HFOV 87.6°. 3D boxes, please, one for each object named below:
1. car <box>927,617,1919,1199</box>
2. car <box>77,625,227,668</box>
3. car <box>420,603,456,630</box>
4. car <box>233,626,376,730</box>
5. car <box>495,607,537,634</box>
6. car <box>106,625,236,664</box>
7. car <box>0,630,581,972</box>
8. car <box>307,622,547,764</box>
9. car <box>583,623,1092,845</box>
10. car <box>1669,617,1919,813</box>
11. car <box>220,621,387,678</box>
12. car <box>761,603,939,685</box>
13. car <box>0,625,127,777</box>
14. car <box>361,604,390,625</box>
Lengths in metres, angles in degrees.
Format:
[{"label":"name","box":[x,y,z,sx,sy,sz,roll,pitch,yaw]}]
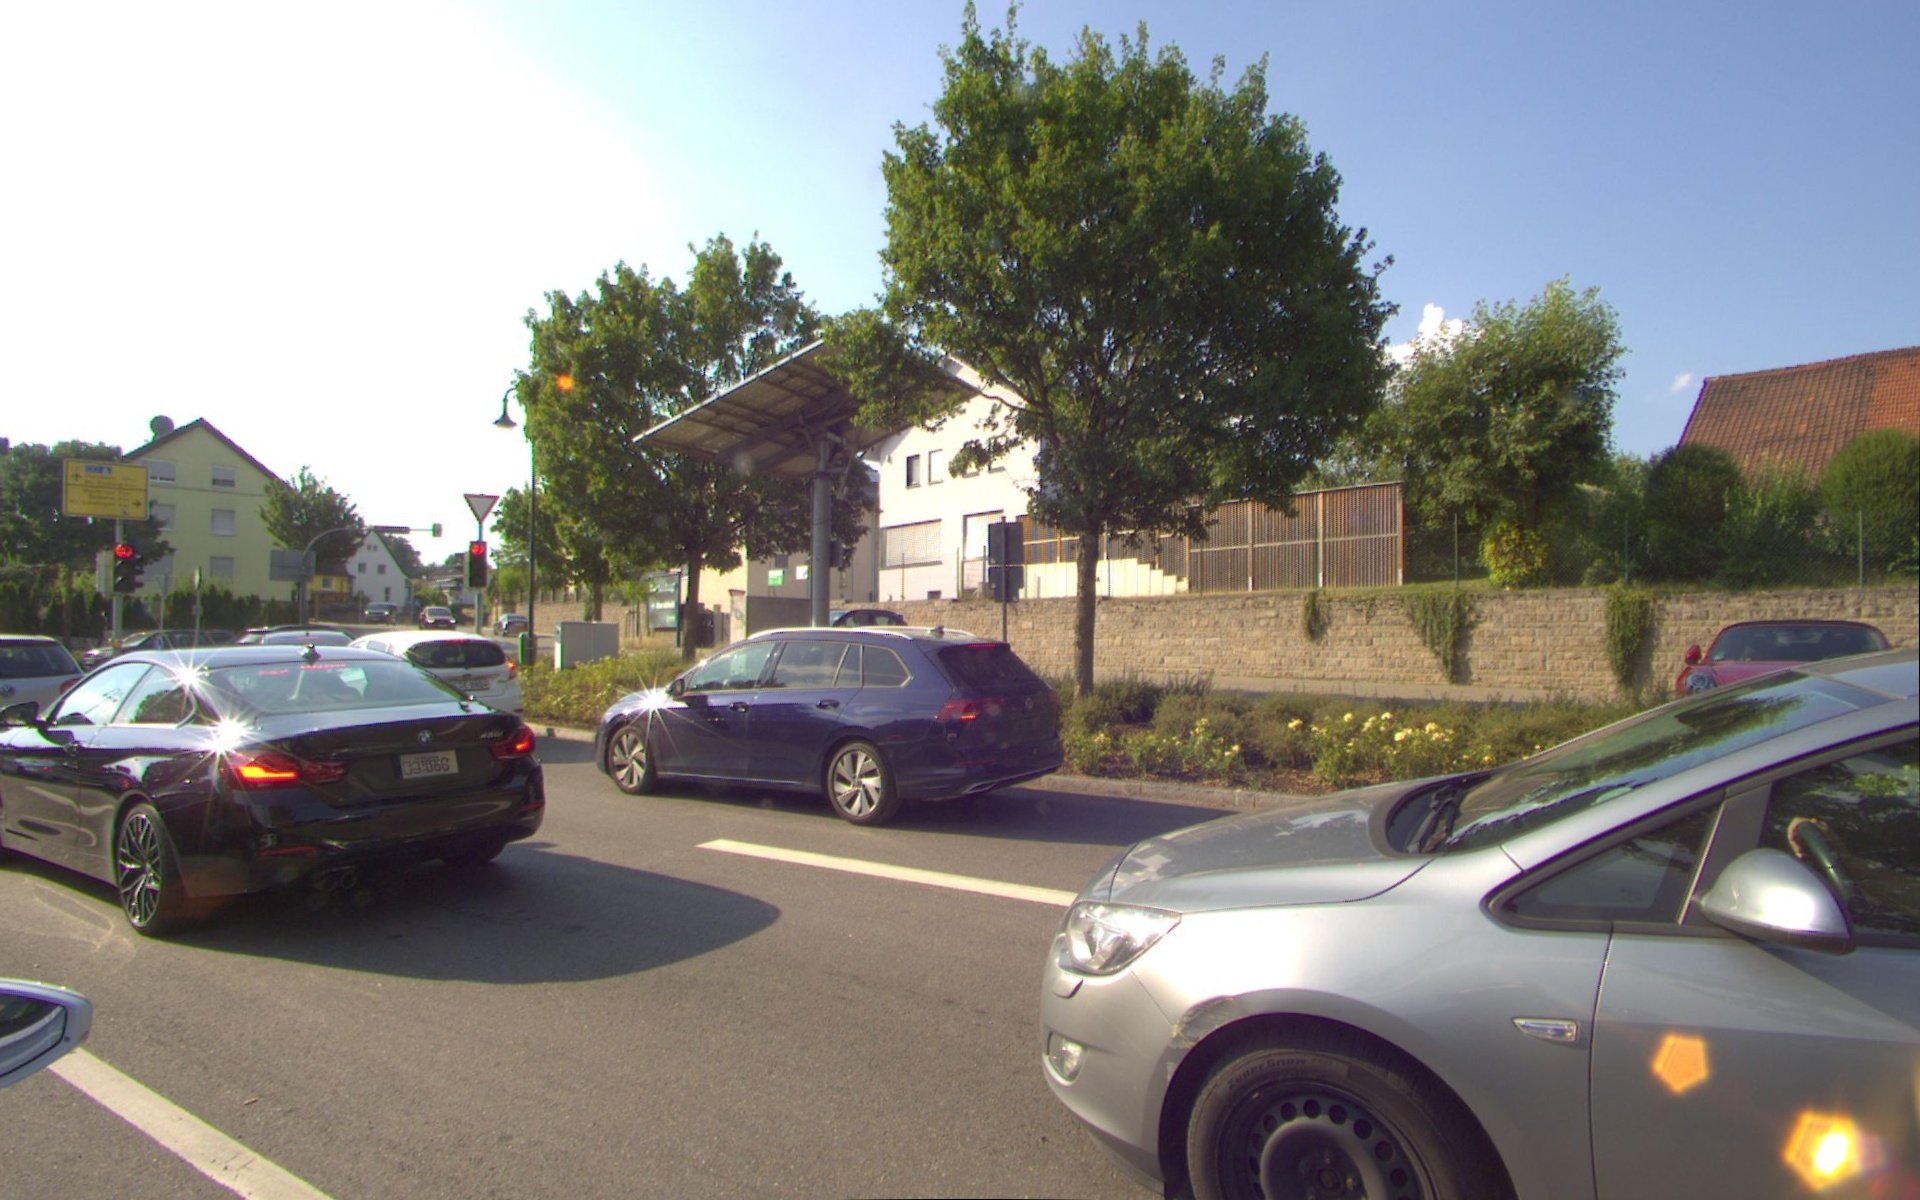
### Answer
[{"label":"car","box":[2.184,0.784,2.158,4.256,1.472,1.758,-1,0,31]},{"label":"car","box":[-30.062,1.719,37.360,1.821,1.508,3.983,-1,-2,30]},{"label":"car","box":[-34.791,1.129,66.744,1.823,1.662,4.407,1,-2,-31]},{"label":"car","box":[-11.743,1.273,17.811,1.643,1.562,4.362,-1,0,-40]},{"label":"car","box":[-28.861,1.332,65.005,1.944,1.701,4.191,0,-1,-32]},{"label":"car","box":[-32.190,1.811,40.906,1.829,1.508,3.966,-1,-2,43]},{"label":"car","box":[-4.425,0.916,6.183,4.220,1.416,1.758,-1,0,33]},{"label":"car","box":[-6.907,1.082,12.884,3.278,1.562,1.611,-1,0,40]},{"label":"car","box":[-1.166,0.951,8.661,4.258,1.472,1.758,-1,0,33]},{"label":"car","box":[8.235,0.954,9.741,1.758,1.510,4.120,-1,-2,41]},{"label":"car","box":[-21.508,1.571,32.990,1.940,1.701,4.199,-1,-1,27]},{"label":"car","box":[-2.367,0.962,22.294,1.758,1.653,3.800,-1,-2,40]},{"label":"car","box":[-10.795,1.013,10.776,3.848,1.444,1.758,-1,0,33]},{"label":"car","box":[-50.358,1.278,86.260,1.824,1.761,4.755,1,-2,-34]}]
